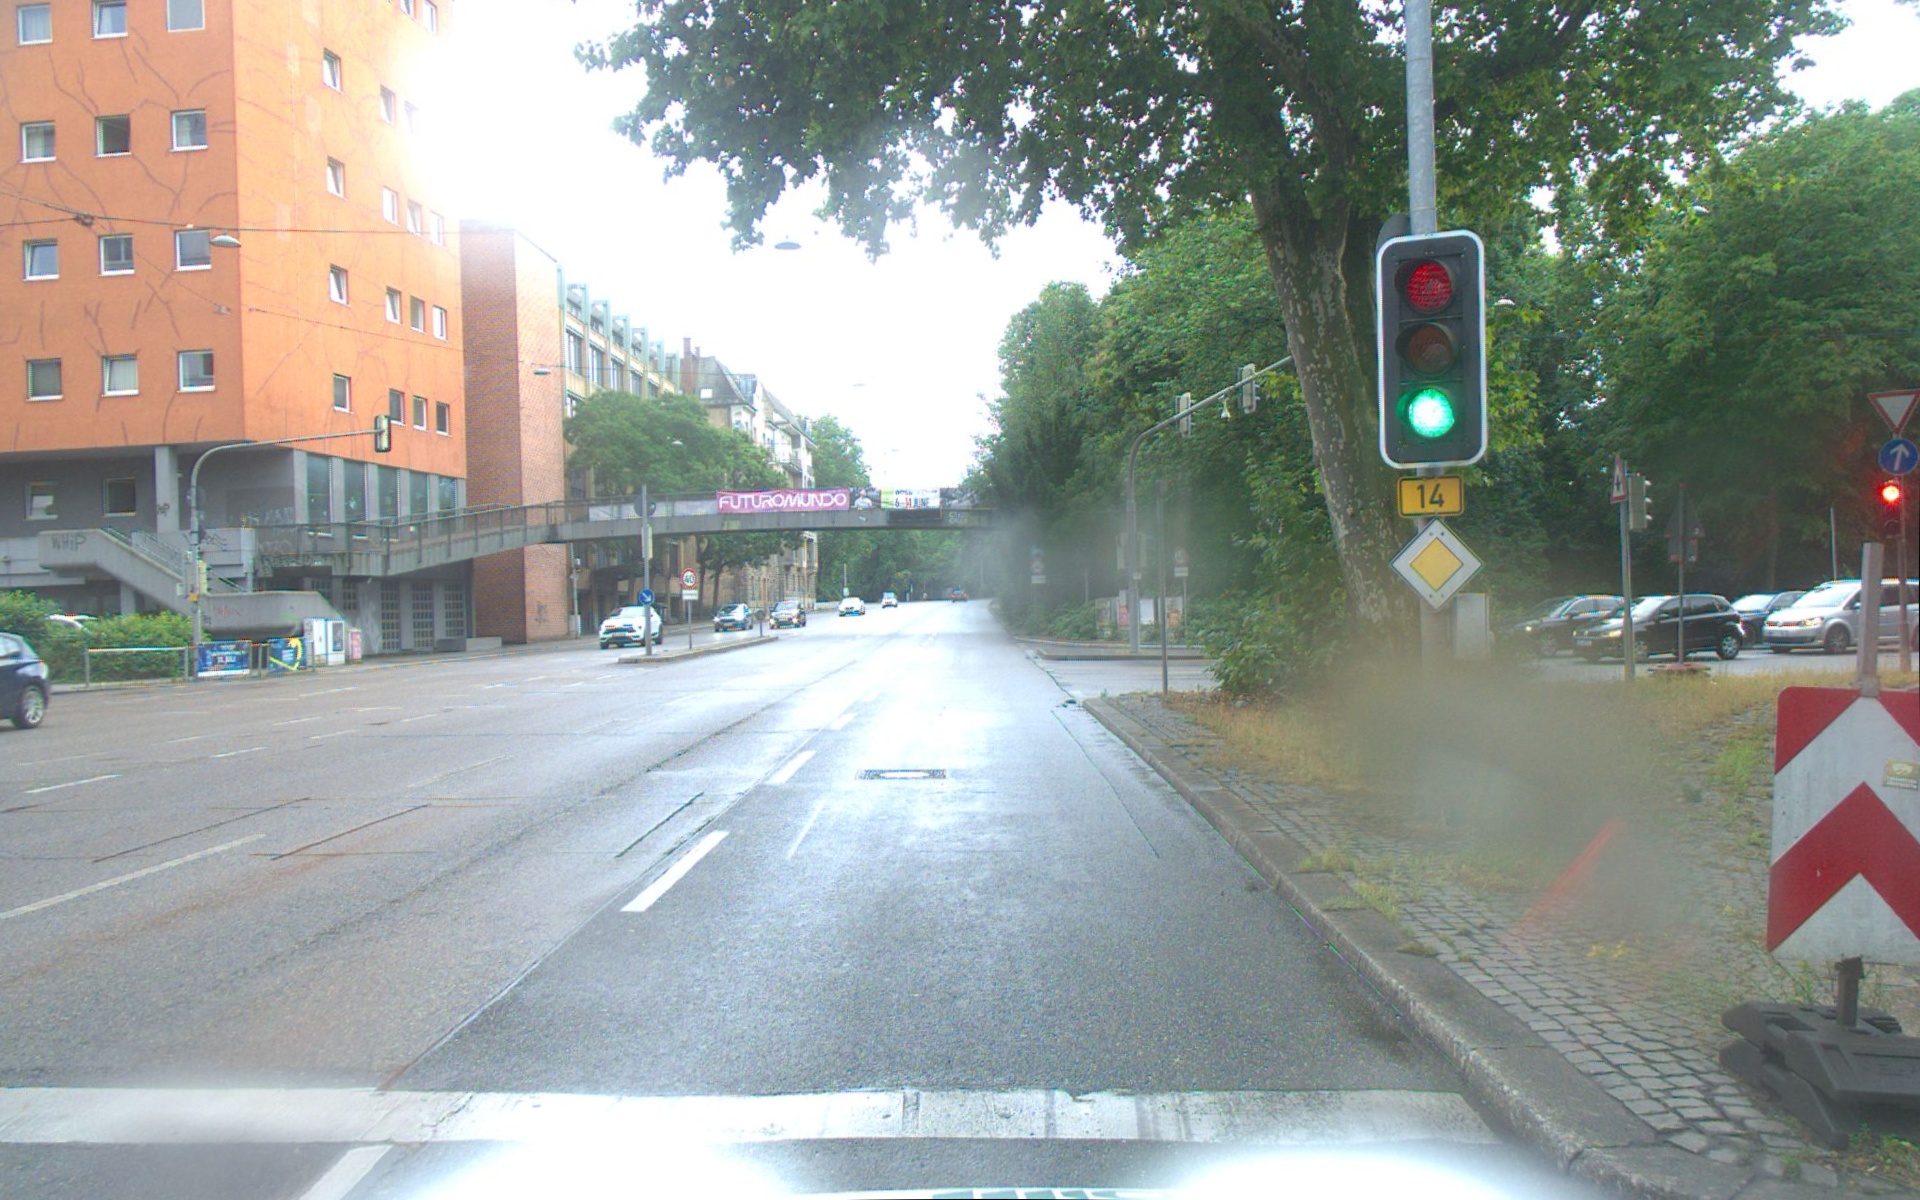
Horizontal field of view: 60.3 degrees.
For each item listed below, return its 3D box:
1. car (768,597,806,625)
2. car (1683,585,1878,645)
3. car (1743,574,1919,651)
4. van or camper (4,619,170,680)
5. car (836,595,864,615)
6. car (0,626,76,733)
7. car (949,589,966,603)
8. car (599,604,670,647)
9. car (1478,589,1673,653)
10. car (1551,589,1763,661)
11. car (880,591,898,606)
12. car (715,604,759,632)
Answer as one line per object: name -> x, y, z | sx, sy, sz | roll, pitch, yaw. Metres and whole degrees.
car -> -9.565, 0.611, 91.652 | 1.648, 1.461, 3.863 | -2, 0, 1
car -> 20.779, 0.376, 41.910 | 4.361, 1.427, 1.821 | 1, 0, -17
car -> 20.613, 0.301, 38.509 | 4.129, 1.709, 1.898 | 1, 0, -17
van or camper -> -25.755, 1.436, 48.865 | 3.902, 1.656, 1.915 | -1, 0, 5
car -> -8.481, 0.378, 127.777 | 1.793, 1.418, 4.405 | -3, 0, 1
car -> -14.004, 1.135, 22.435 | 1.651, 1.444, 4.215 | -2, 0, 1
car -> -0.271, -0.518, 204.532 | 1.963, 1.672, 4.376 | -1, 0, 1
car -> -13.058, 1.019, 66.623 | 1.850, 1.638, 4.457 | -1, 0, 2
car -> 14.970, 0.518, 40.297 | 4.131, 1.466, 1.941 | 1, 0, -17
car -> 15.372, 0.546, 36.514 | 4.119, 1.486, 1.785 | 1, 0, -17
car -> -7.482, -0.165, 174.275 | 1.568, 1.525, 3.712 | -3, 0, 1
car -> -12.375, 1.002, 91.889 | 1.673, 1.490, 4.042 | -2, 0, 2
